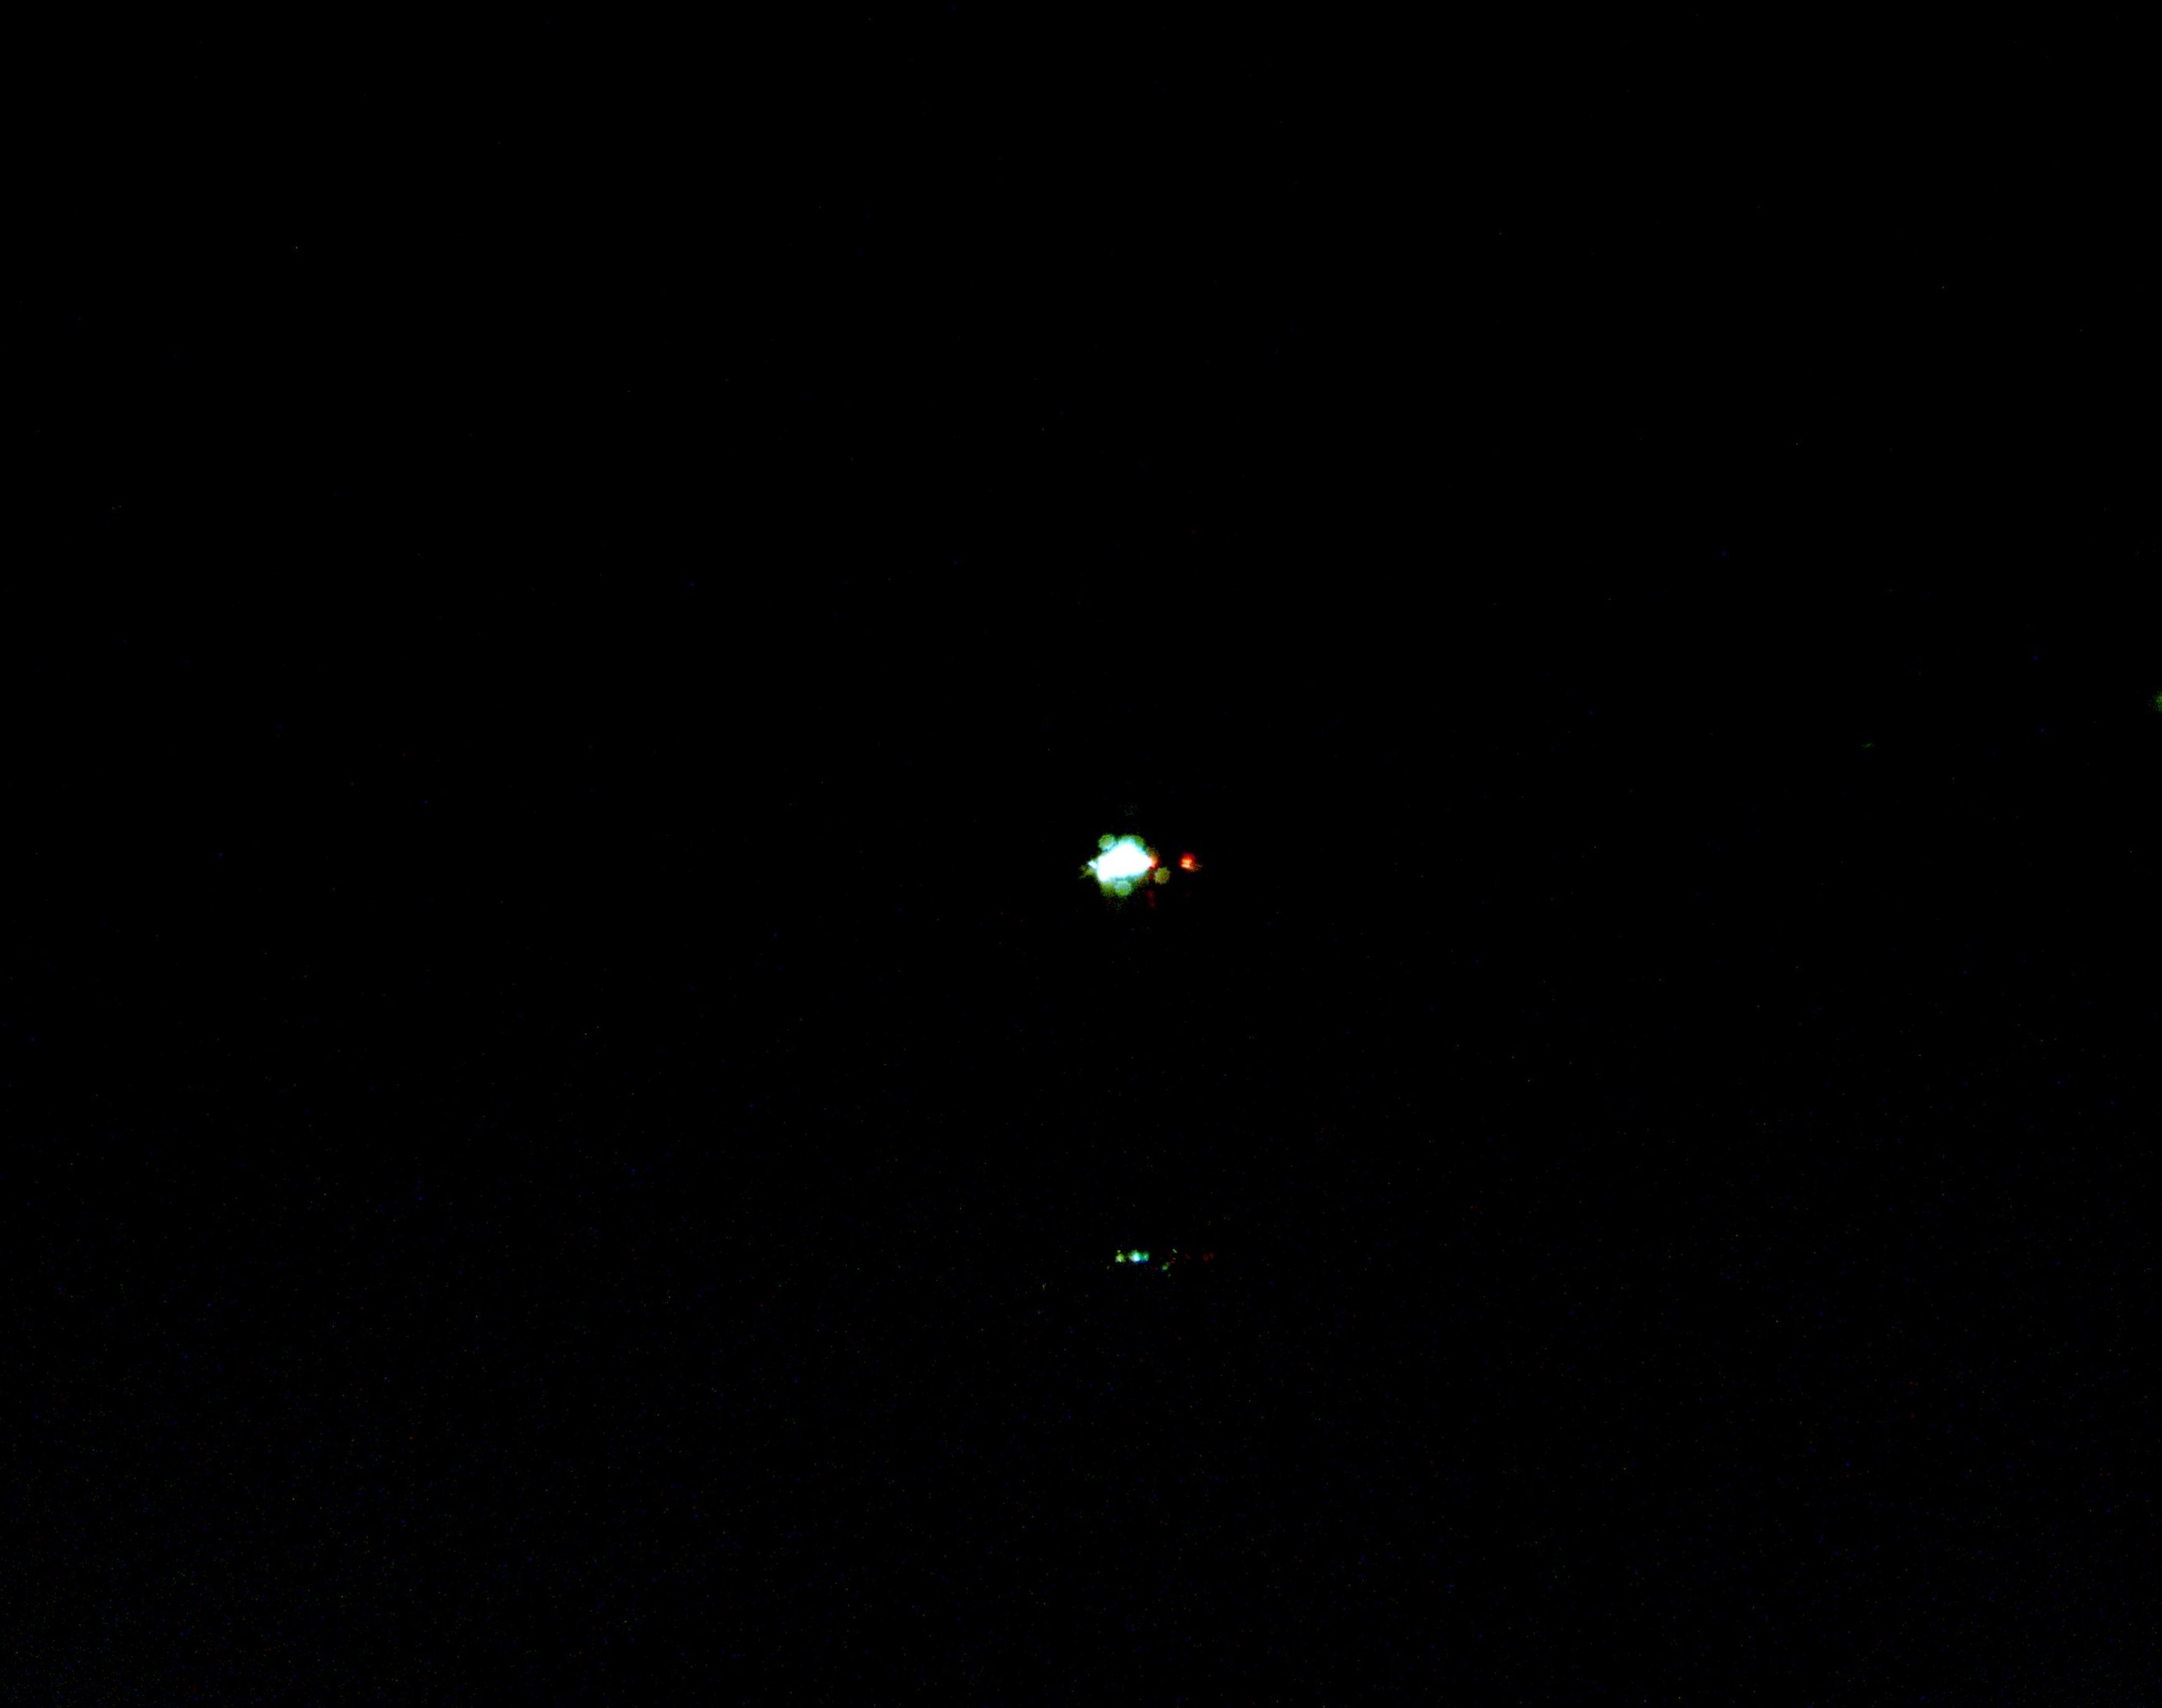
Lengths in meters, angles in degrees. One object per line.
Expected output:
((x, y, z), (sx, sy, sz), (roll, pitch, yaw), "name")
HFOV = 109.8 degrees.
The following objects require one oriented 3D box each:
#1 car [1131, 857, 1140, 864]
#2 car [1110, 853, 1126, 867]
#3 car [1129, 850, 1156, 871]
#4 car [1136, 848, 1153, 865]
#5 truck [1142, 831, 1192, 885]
((12.597, 1.547, 176.333), (1.746, 1.623, 3.736), (-1, 0, 1), "car")
((4.628, 0.708, 94.745), (1.746, 1.623, 3.737), (-1, 0, 6), "car")
((4.972, 0.535, 61.776), (1.889, 1.567, 4.050), (-2, 0, 2), "car")
((7.475, 0.294, 89.922), (1.746, 1.812, 3.878), (-2, 0, 2), "car")
((4.318, 0.174, 39.021), (2.142, 2.520, 5.280), (-2, 0, 3), "truck")
